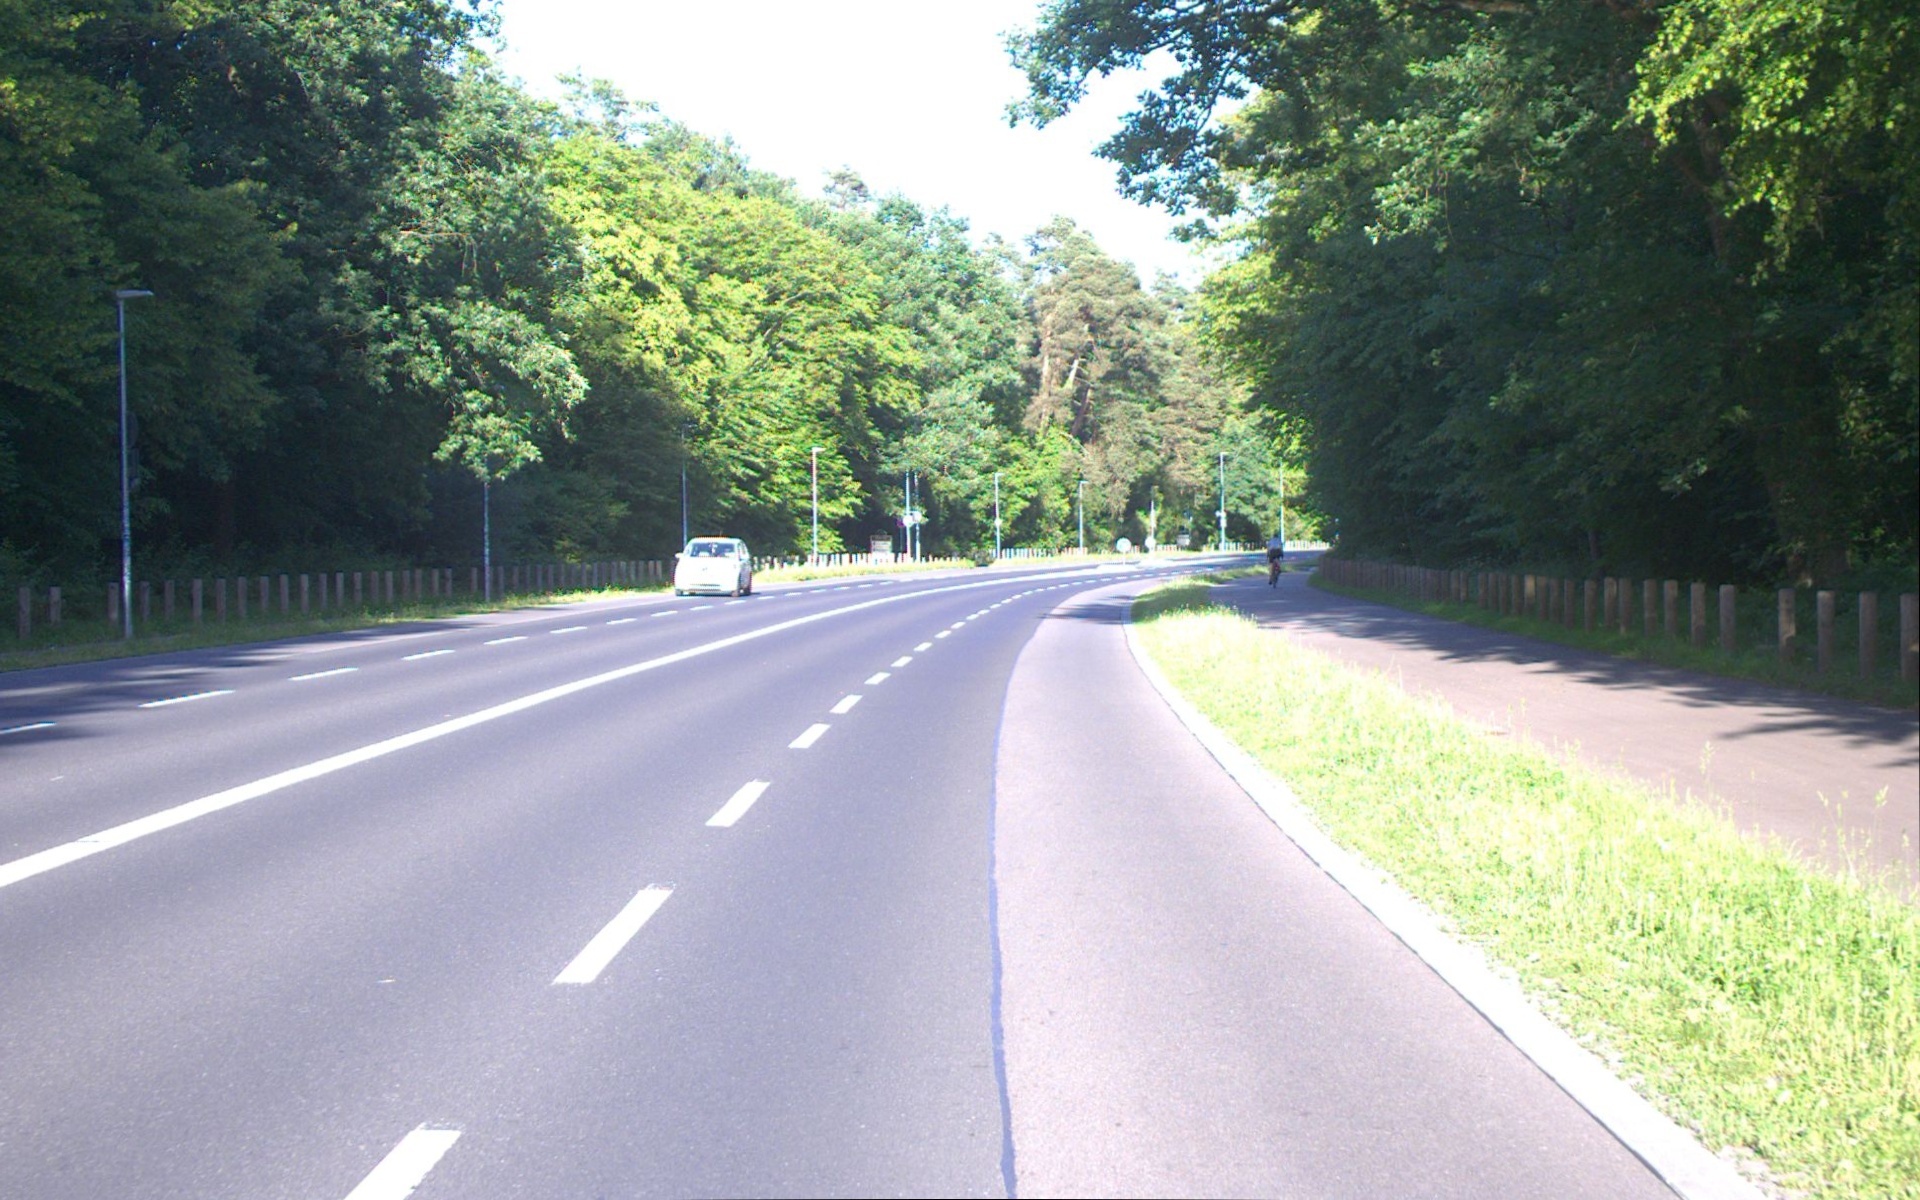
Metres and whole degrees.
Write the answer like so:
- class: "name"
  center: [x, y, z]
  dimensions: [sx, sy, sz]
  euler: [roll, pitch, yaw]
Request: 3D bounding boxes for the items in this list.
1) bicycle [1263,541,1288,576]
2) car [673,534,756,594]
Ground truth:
- class: "bicycle"
  center: [9.586, -1.263, 104.533]
  dimensions: [0.712, 1.052, 2.053]
  euler: [0, 1, 5]
- class: "car"
  center: [-6.226, -0.930, 87.609]
  dimensions: [1.587, 1.432, 4.309]
  euler: [2, 1, 2]
